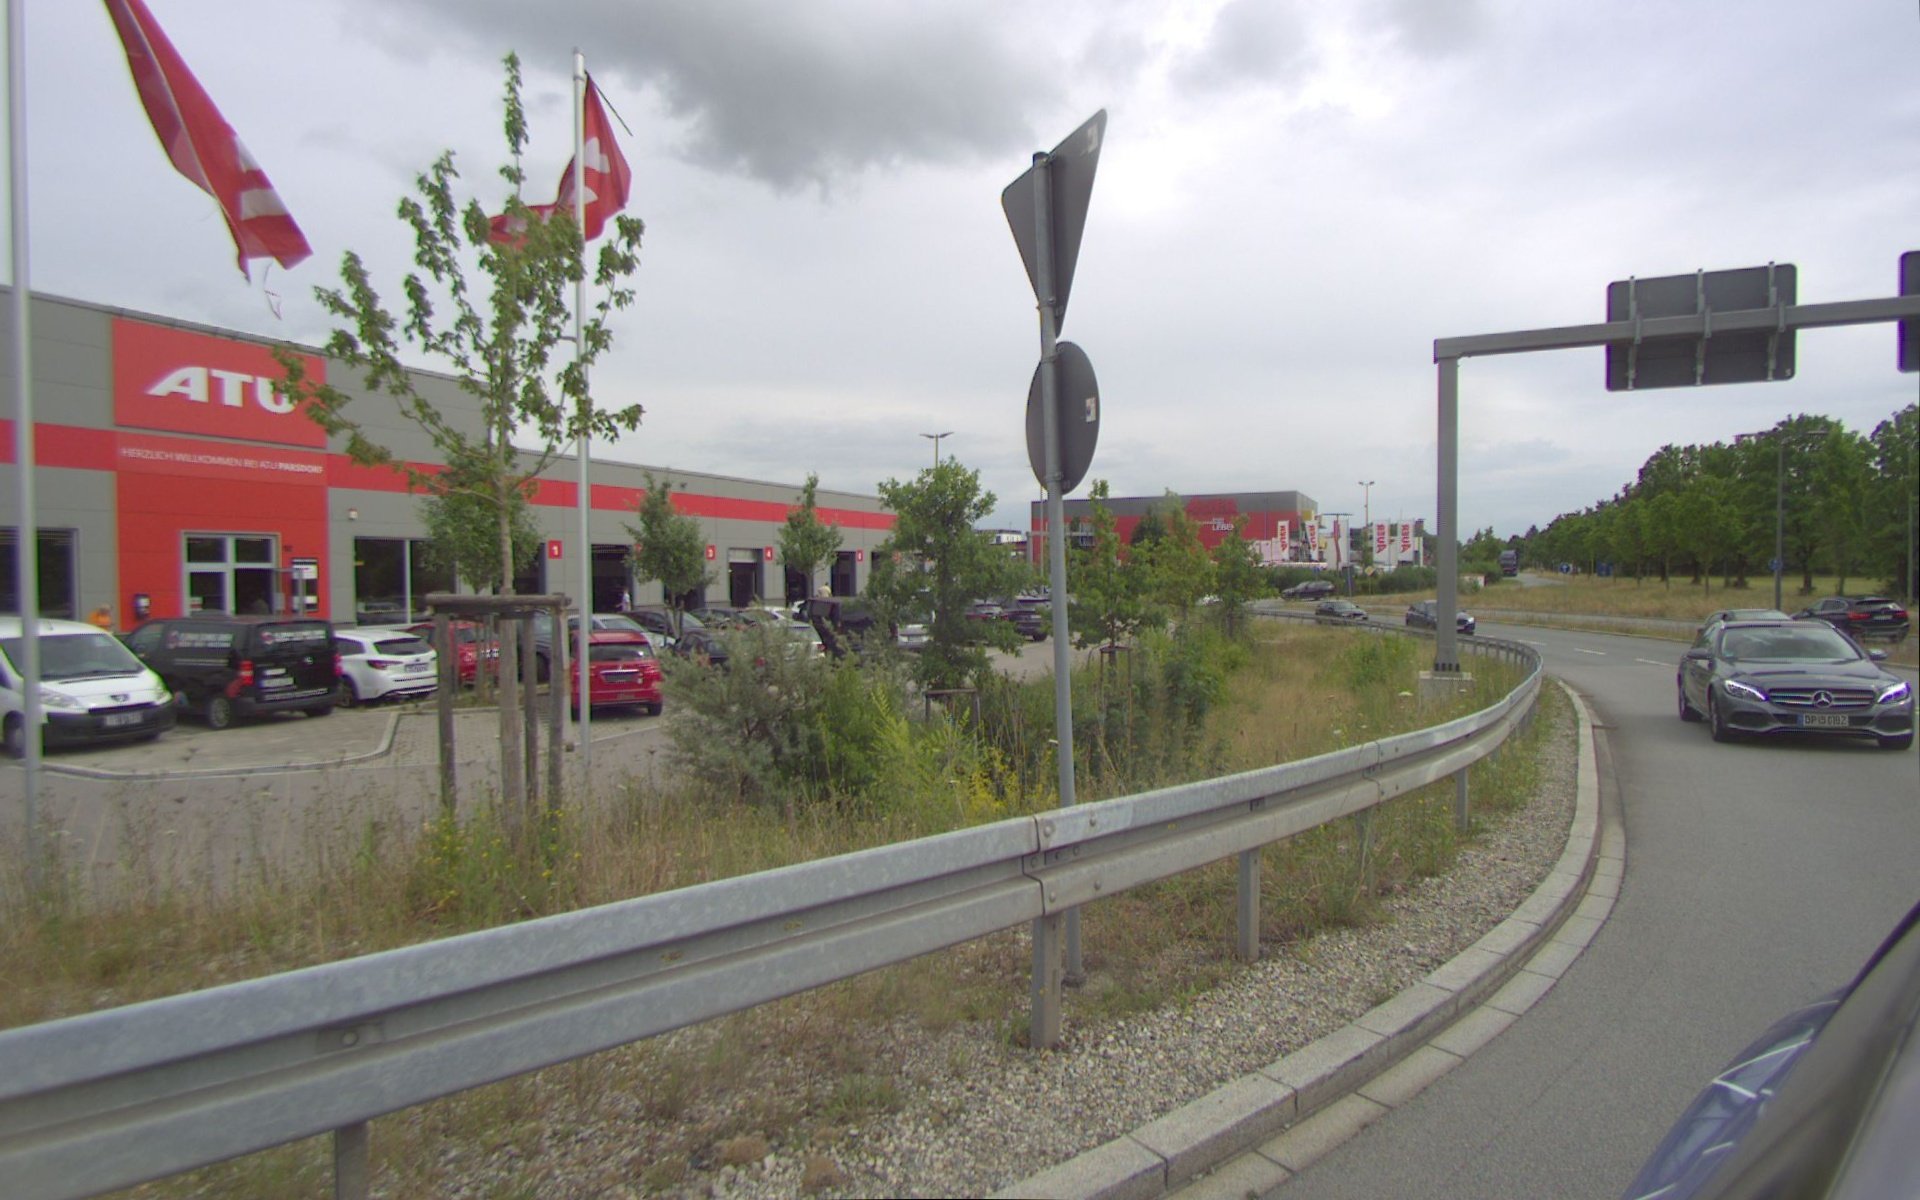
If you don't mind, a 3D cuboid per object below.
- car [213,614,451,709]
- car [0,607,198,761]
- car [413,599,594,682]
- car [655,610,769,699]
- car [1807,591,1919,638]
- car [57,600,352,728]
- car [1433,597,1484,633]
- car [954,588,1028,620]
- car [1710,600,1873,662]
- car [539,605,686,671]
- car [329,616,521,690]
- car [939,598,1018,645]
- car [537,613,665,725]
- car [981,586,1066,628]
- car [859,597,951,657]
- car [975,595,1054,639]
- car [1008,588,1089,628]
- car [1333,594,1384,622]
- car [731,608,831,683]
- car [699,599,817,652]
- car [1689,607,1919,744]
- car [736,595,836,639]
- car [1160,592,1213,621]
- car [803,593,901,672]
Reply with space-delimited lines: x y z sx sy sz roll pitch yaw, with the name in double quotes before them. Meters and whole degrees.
"car" -13.174 1.211 21.239 4.619 1.661 1.902 1 1 21
"car" -14.700 1.182 15.945 5.017 2.073 1.986 0 1 21
"car" -11.263 0.996 24.970 4.150 1.859 1.580 -2 0 21
"car" -5.694 1.137 22.920 1.734 1.599 4.086 0 3 -25
"car" 30.835 0.442 34.376 1.870 1.485 4.251 0 0 21
"car" -13.761 1.052 18.446 5.017 1.997 1.986 1 1 21
"car" 23.201 0.657 47.201 1.840 1.429 4.523 -1 1 23
"car" 1.669 0.206 54.399 3.654 1.564 1.580 -2 0 21
"car" 21.439 0.750 26.300 1.740 1.334 3.941 -2 1 15
"car" -9.488 1.030 27.656 3.654 1.659 1.580 -1 0 21
"car" -12.387 1.234 23.437 4.150 1.518 1.580 -2 0 21
"car" 0.622 0.793 37.630 1.615 1.643 4.085 0 -1 -19
"car" -7.254 1.259 20.237 1.736 1.598 4.085 -2 5 -29
"car" 2.709 0.272 44.174 1.792 1.642 4.083 1 2 -28
"car" -1.845 0.792 32.340 1.866 1.733 4.085 -1 0 -19
"car" 2.064 0.662 39.822 1.700 1.643 4.084 0 -1 -19
"car" 4.005 0.344 46.403 1.701 1.642 4.084 1 2 -28
"car" 23.353 0.453 59.467 1.829 1.429 3.932 -2 1 7
"car" -4.757 1.114 26.452 1.734 1.599 4.086 0 2 -22
"car" -6.915 0.864 34.604 3.654 1.659 1.580 -2 0 21
"car" 10.529 0.847 12.830 1.752 1.438 4.044 -2 -2 32
"car" -6.925 0.669 40.321 3.654 1.659 1.580 -1 0 21
"car" 13.143 0.393 58.926 1.558 1.564 3.706 -2 0 -13
"car" -3.138 0.841 28.740 1.866 1.931 4.087 0 2 -19
